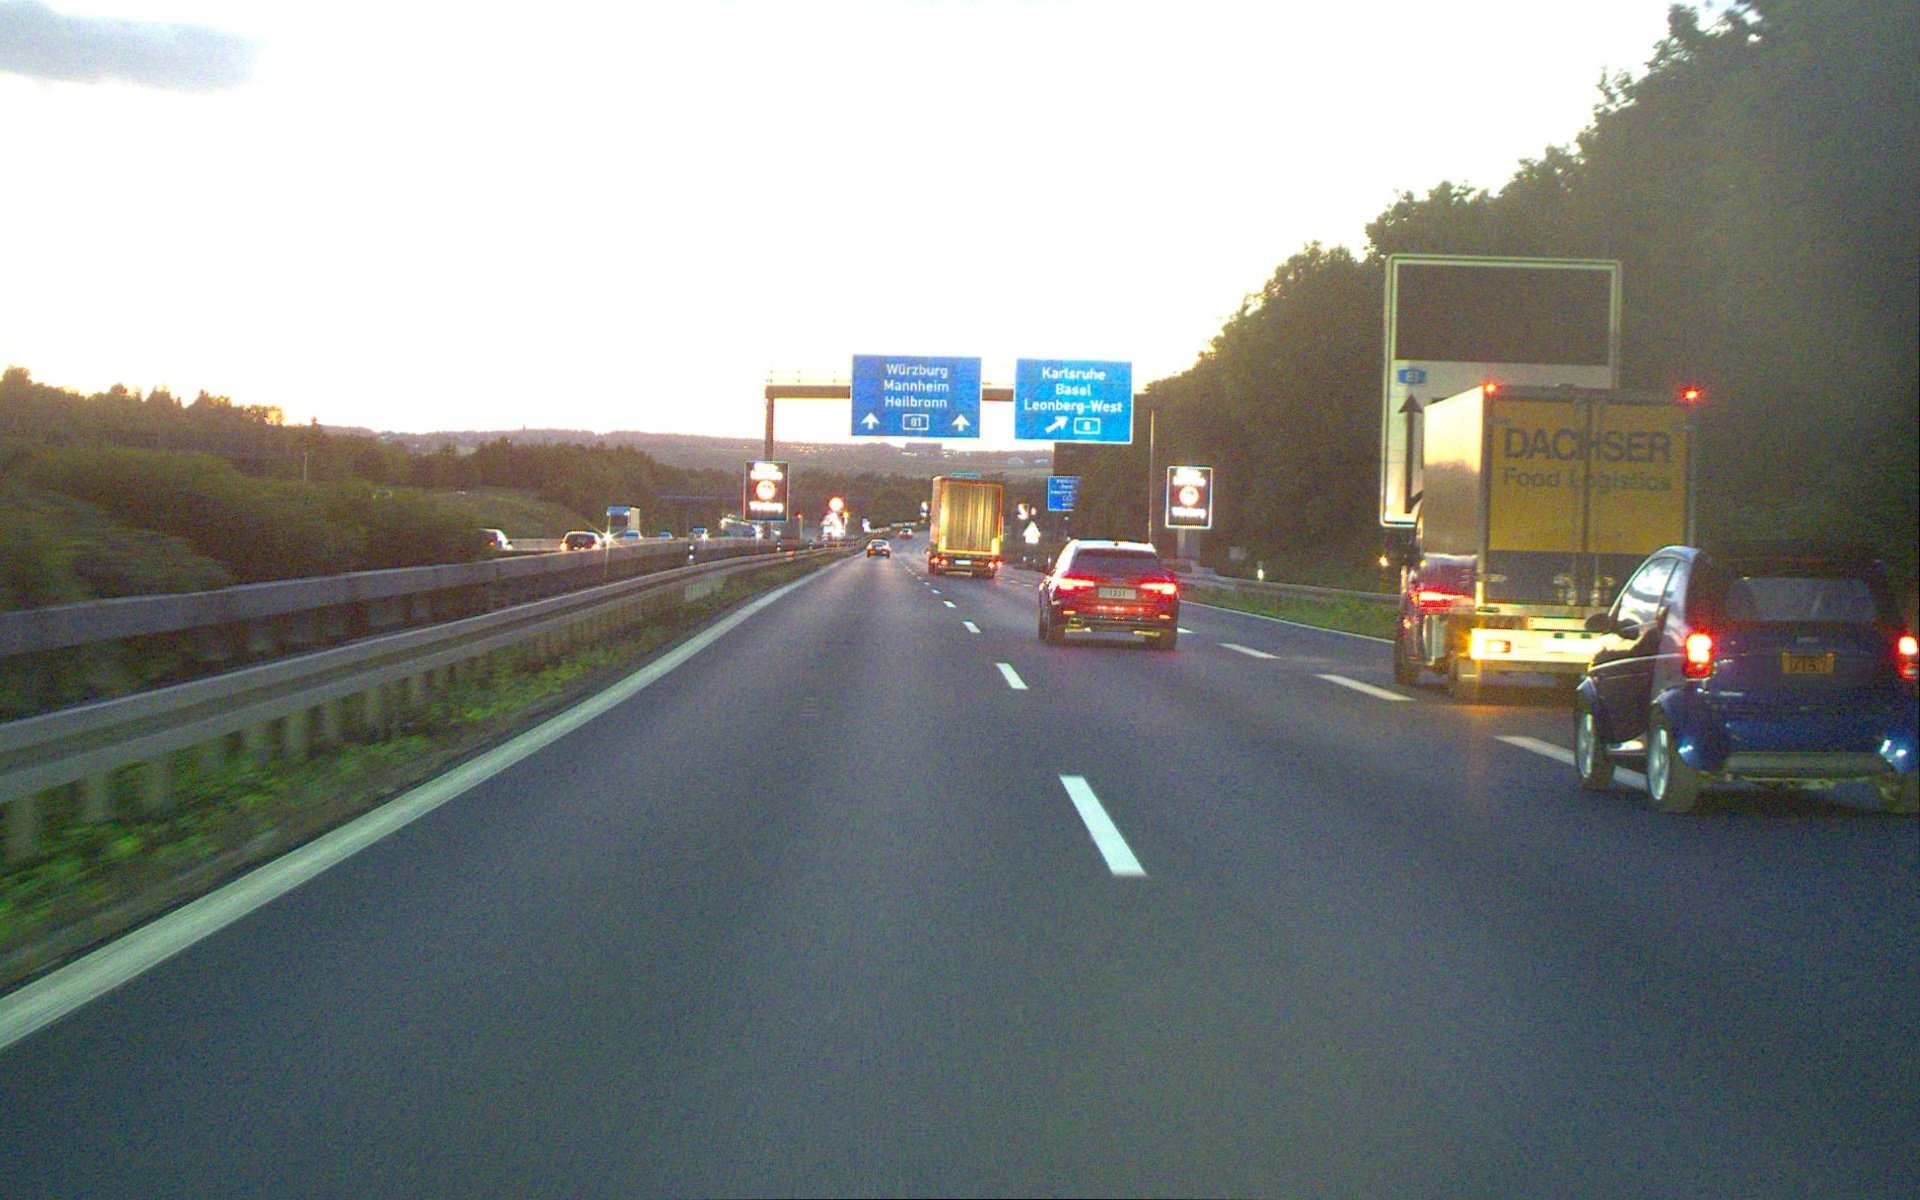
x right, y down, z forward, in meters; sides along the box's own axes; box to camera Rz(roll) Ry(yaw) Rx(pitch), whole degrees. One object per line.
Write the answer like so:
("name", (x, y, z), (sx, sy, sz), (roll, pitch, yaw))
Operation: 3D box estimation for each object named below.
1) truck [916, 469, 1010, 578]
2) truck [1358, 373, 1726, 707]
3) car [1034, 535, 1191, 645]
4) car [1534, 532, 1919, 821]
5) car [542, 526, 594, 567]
("truck", (0.062, -3.134, 142.759), (3.509, 4.286, 9.892), (1, 1, -2))
("truck", (5.782, -0.623, 35.191), (2.268, 2.961, 6.632), (3, 1, -2))
("car", (2.094, -0.153, 48.207), (1.915, 1.437, 4.000), (1, 1, -1))
("car", (4.586, 0.402, 20.470), (1.610, 1.550, 3.319), (1, 1, -3))
("car", (-15.769, -2.133, 138.405), (1.713, 1.600, 3.722), (1, 1, -1))
